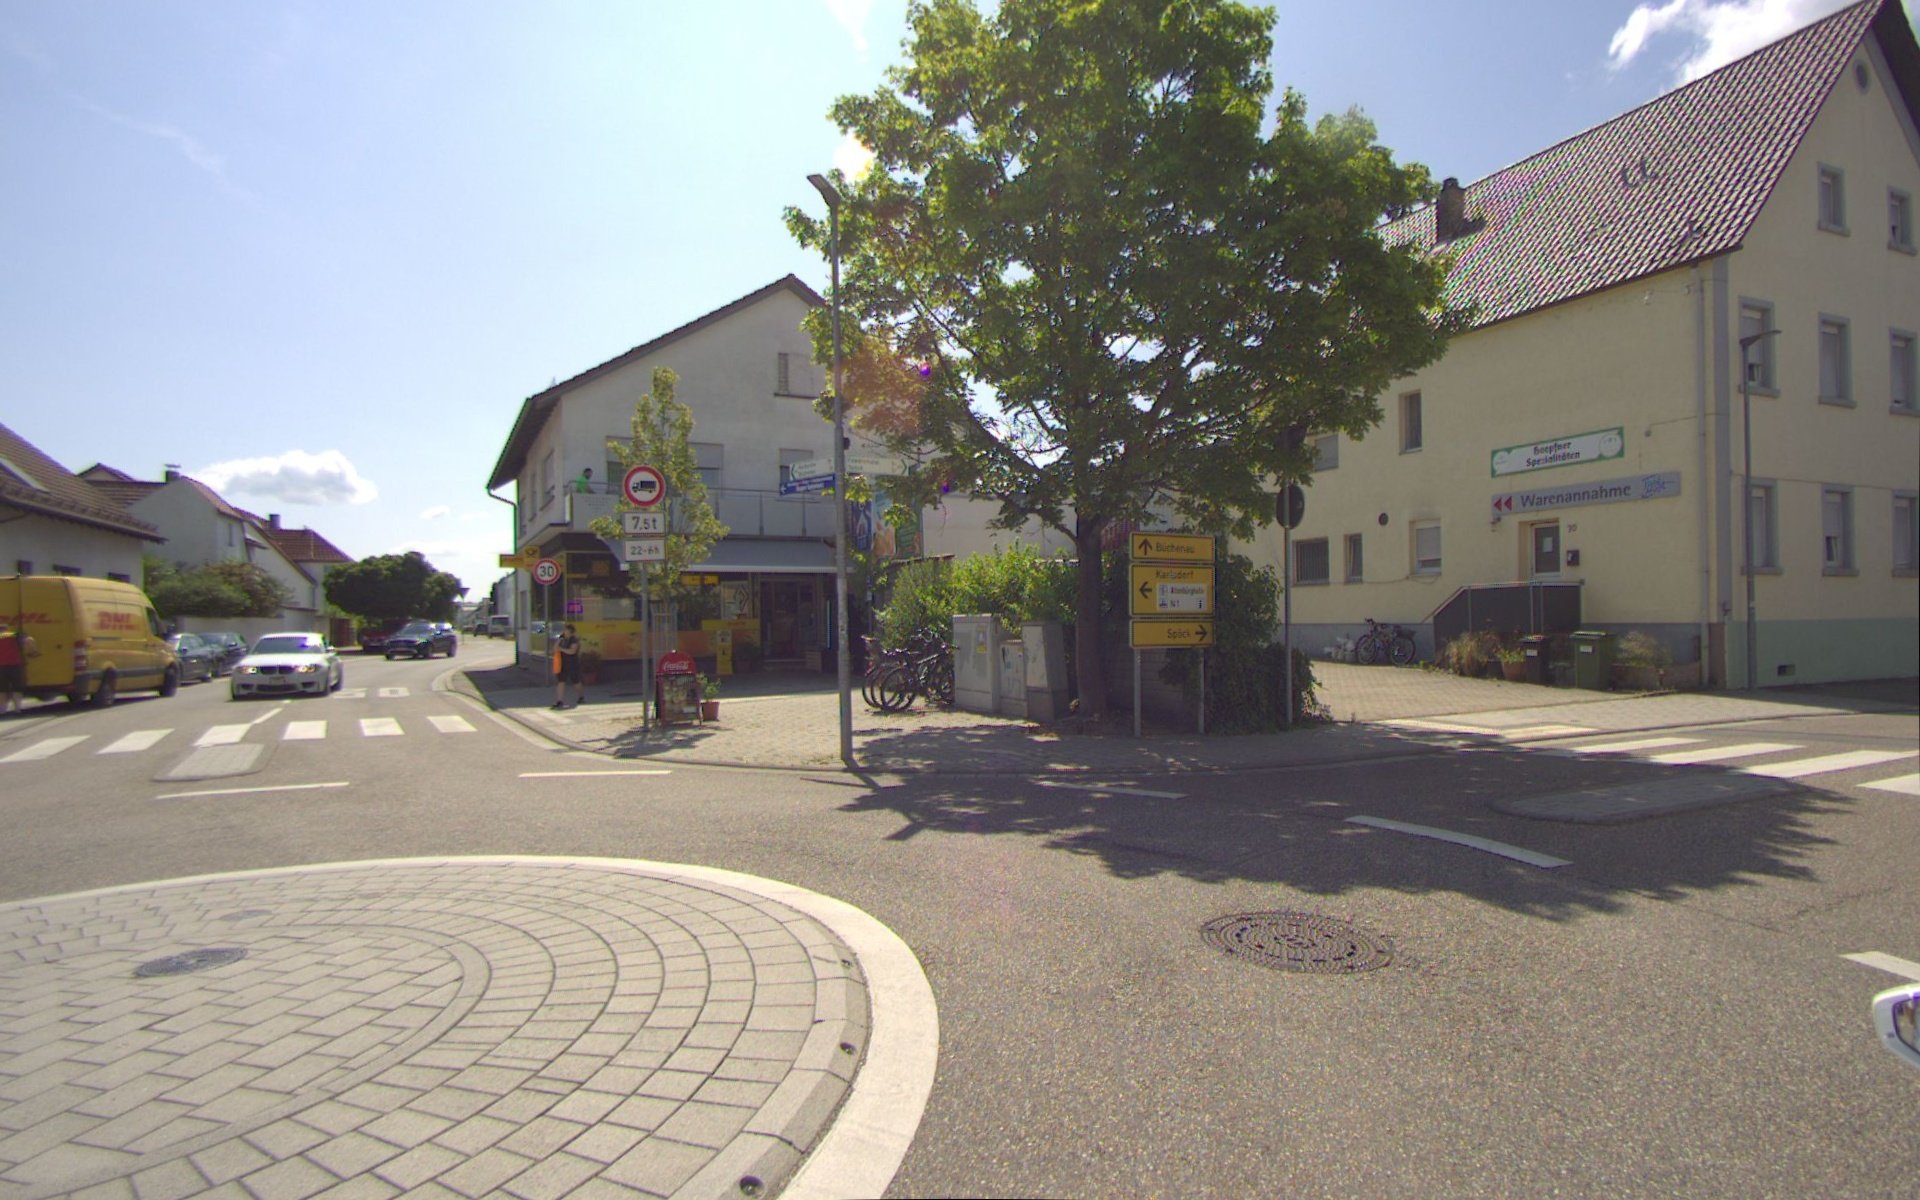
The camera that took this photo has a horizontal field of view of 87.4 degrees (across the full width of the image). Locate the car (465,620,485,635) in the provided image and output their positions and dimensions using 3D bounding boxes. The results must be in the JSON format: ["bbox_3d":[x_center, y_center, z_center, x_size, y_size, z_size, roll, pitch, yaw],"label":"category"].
[{"bbox_3d":[-61.609,3.486,127.485,2.067,1.878,4.099,0,-1,-29],"label":"car"}]

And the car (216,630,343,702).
[{"bbox_3d":[-15.701,1.457,23.391,1.856,1.468,4.306,-1,-1,-26],"label":"car"}]

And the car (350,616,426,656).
[{"bbox_3d":[-28.991,1.777,51.078,1.838,1.858,3.970,0,0,-5],"label":"car"}]

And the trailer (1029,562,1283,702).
[{"bbox_3d":[3.684,0.523,18.785,4.463,2.367,1.873,0,1,-26],"label":"trailer"}]

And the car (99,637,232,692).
[{"bbox_3d":[-22.414,1.771,28.515,1.759,1.261,3.955,-1,0,-20],"label":"car"}]

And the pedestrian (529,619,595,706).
[{"bbox_3d":[-7.602,1.181,19.218,0.735,1.610,0.880,-2,0,17],"label":"pedestrian"}]

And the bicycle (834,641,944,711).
[{"bbox_3d":[-1.191,1.276,17.132,1.965,1.017,0.397,-3,1,-39],"label":"bicycle"}]

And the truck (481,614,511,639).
[{"bbox_3d":[-47.393,2.733,102.511,2.221,2.483,5.821,0,-1,-31],"label":"truck"}]

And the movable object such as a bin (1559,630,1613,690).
[{"bbox_3d":[11.863,1.127,19.046,0.649,1.093,0.598,-1,-1,-24],"label":"movable object such as a bin"}]

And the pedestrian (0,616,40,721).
[{"bbox_3d":[-17.514,1.244,18.198,1.010,1.850,0.777,-2,1,-28],"label":"pedestrian"}]

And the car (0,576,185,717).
[{"bbox_3d":[-18.791,0.938,21.359,2.082,2.607,5.656,-1,-1,-21],"label":"car"}]

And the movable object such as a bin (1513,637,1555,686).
[{"bbox_3d":[11.369,1.215,19.907,0.539,0.941,0.478,-1,-1,-24],"label":"movable object such as a bin"}]

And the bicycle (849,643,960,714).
[{"bbox_3d":[-0.902,1.281,16.790,1.965,1.017,0.397,-3,1,-39],"label":"bicycle"}]

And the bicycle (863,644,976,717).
[{"bbox_3d":[-0.635,1.286,16.426,1.965,1.017,0.397,-3,1,-39],"label":"bicycle"}]

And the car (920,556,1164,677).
[{"bbox_3d":[1.989,0.336,23.748,5.572,2.601,1.930,0,1,-26],"label":"car"}]

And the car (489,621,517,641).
[{"bbox_3d":[-43.947,2.960,96.584,2.069,1.878,4.096,0,-1,-31],"label":"car"}]

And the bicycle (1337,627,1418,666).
[{"bbox_3d":[10.404,1.150,25.117,0.534,0.925,2.166,-1,-1,-21],"label":"bicycle"}]

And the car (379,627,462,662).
[{"bbox_3d":[-24.704,2.027,46.190,1.845,1.369,4.412,0,1,-6],"label":"car"}]
